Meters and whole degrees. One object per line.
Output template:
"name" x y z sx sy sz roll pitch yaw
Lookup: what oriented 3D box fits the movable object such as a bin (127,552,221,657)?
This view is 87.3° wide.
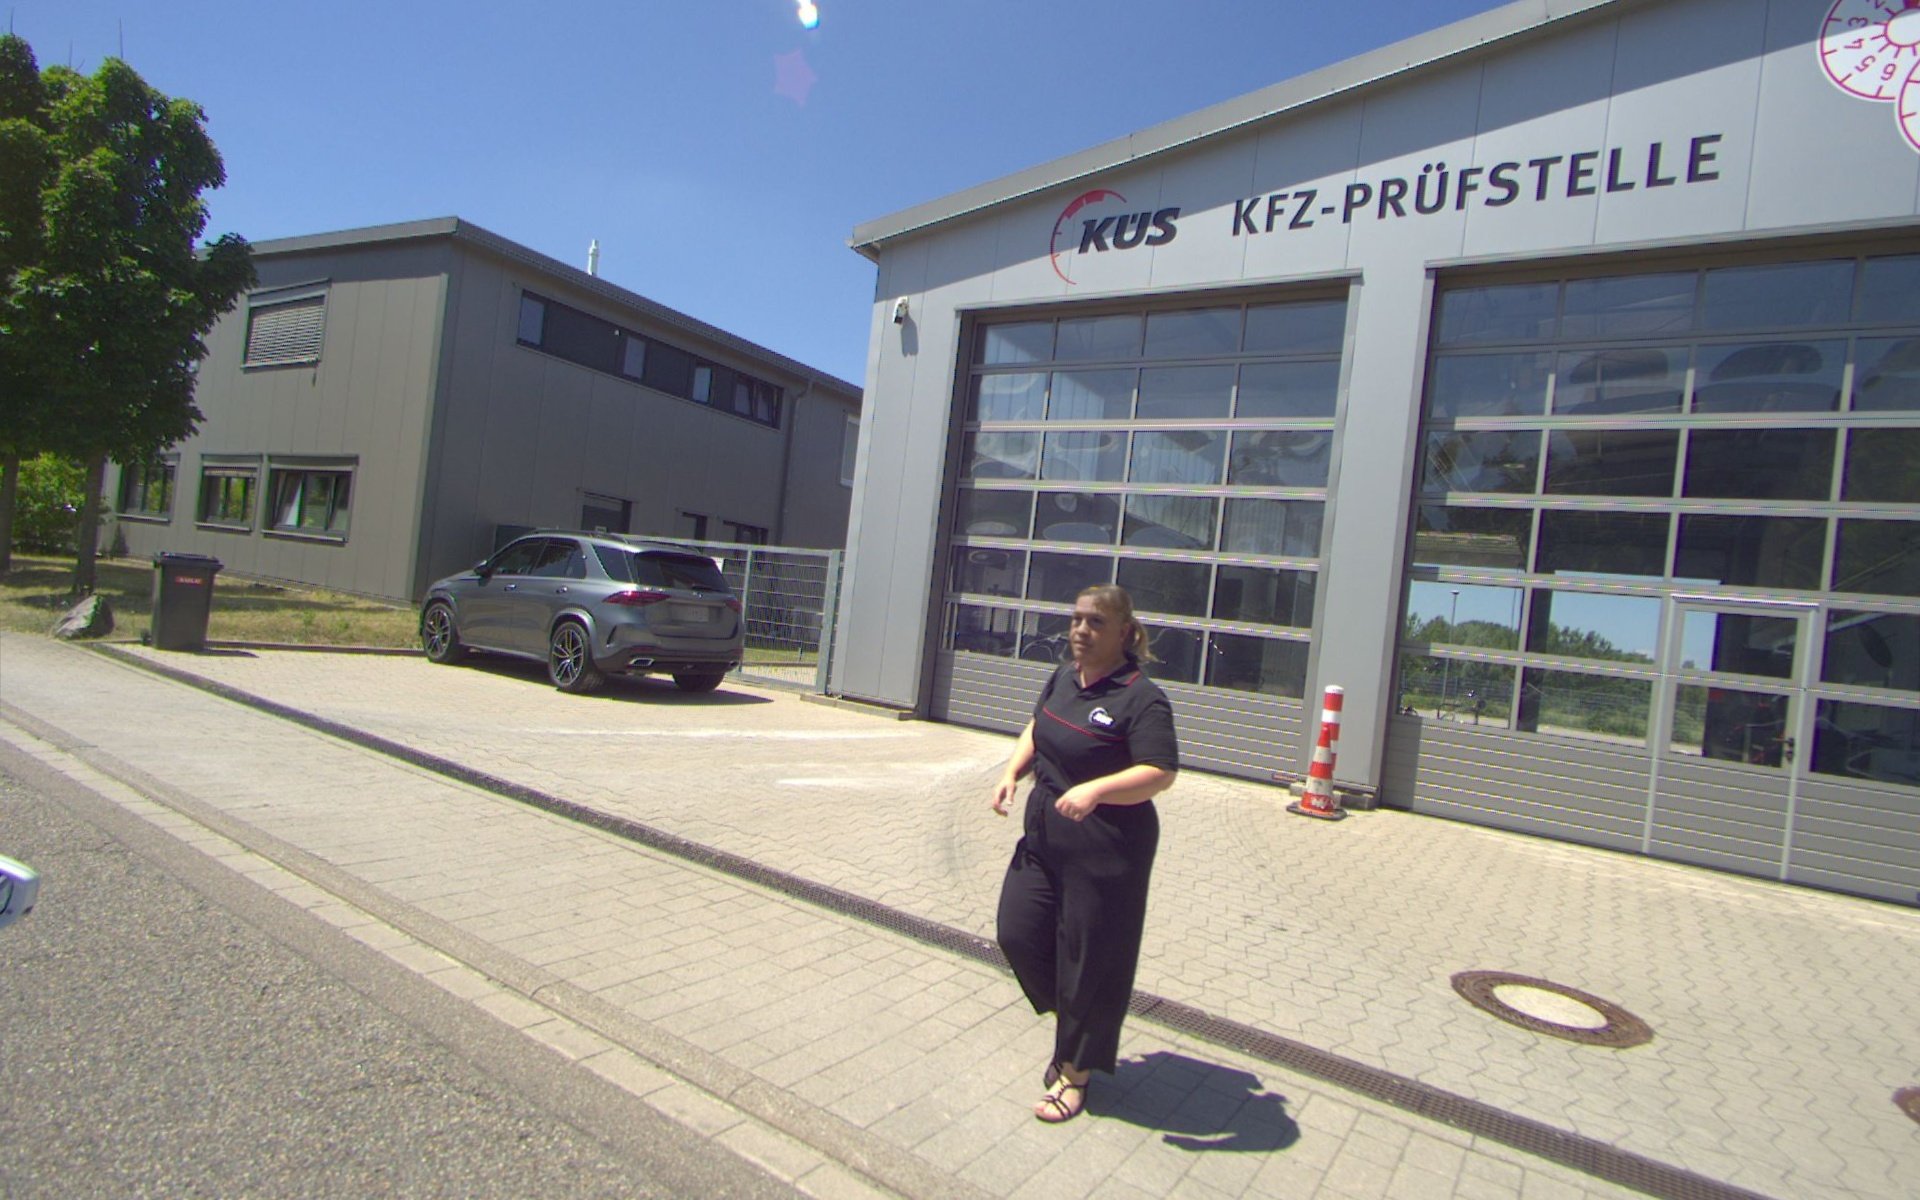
"movable object such as a bin" -8.748 0.053 11.200 0.832 1.065 0.531 6 -1 36

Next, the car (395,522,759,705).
"car" -4.909 0.099 12.558 4.830 1.805 1.785 5 -1 36

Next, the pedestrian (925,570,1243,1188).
"pedestrian" 0.379 0.758 3.091 0.702 1.635 0.499 6 3 32
